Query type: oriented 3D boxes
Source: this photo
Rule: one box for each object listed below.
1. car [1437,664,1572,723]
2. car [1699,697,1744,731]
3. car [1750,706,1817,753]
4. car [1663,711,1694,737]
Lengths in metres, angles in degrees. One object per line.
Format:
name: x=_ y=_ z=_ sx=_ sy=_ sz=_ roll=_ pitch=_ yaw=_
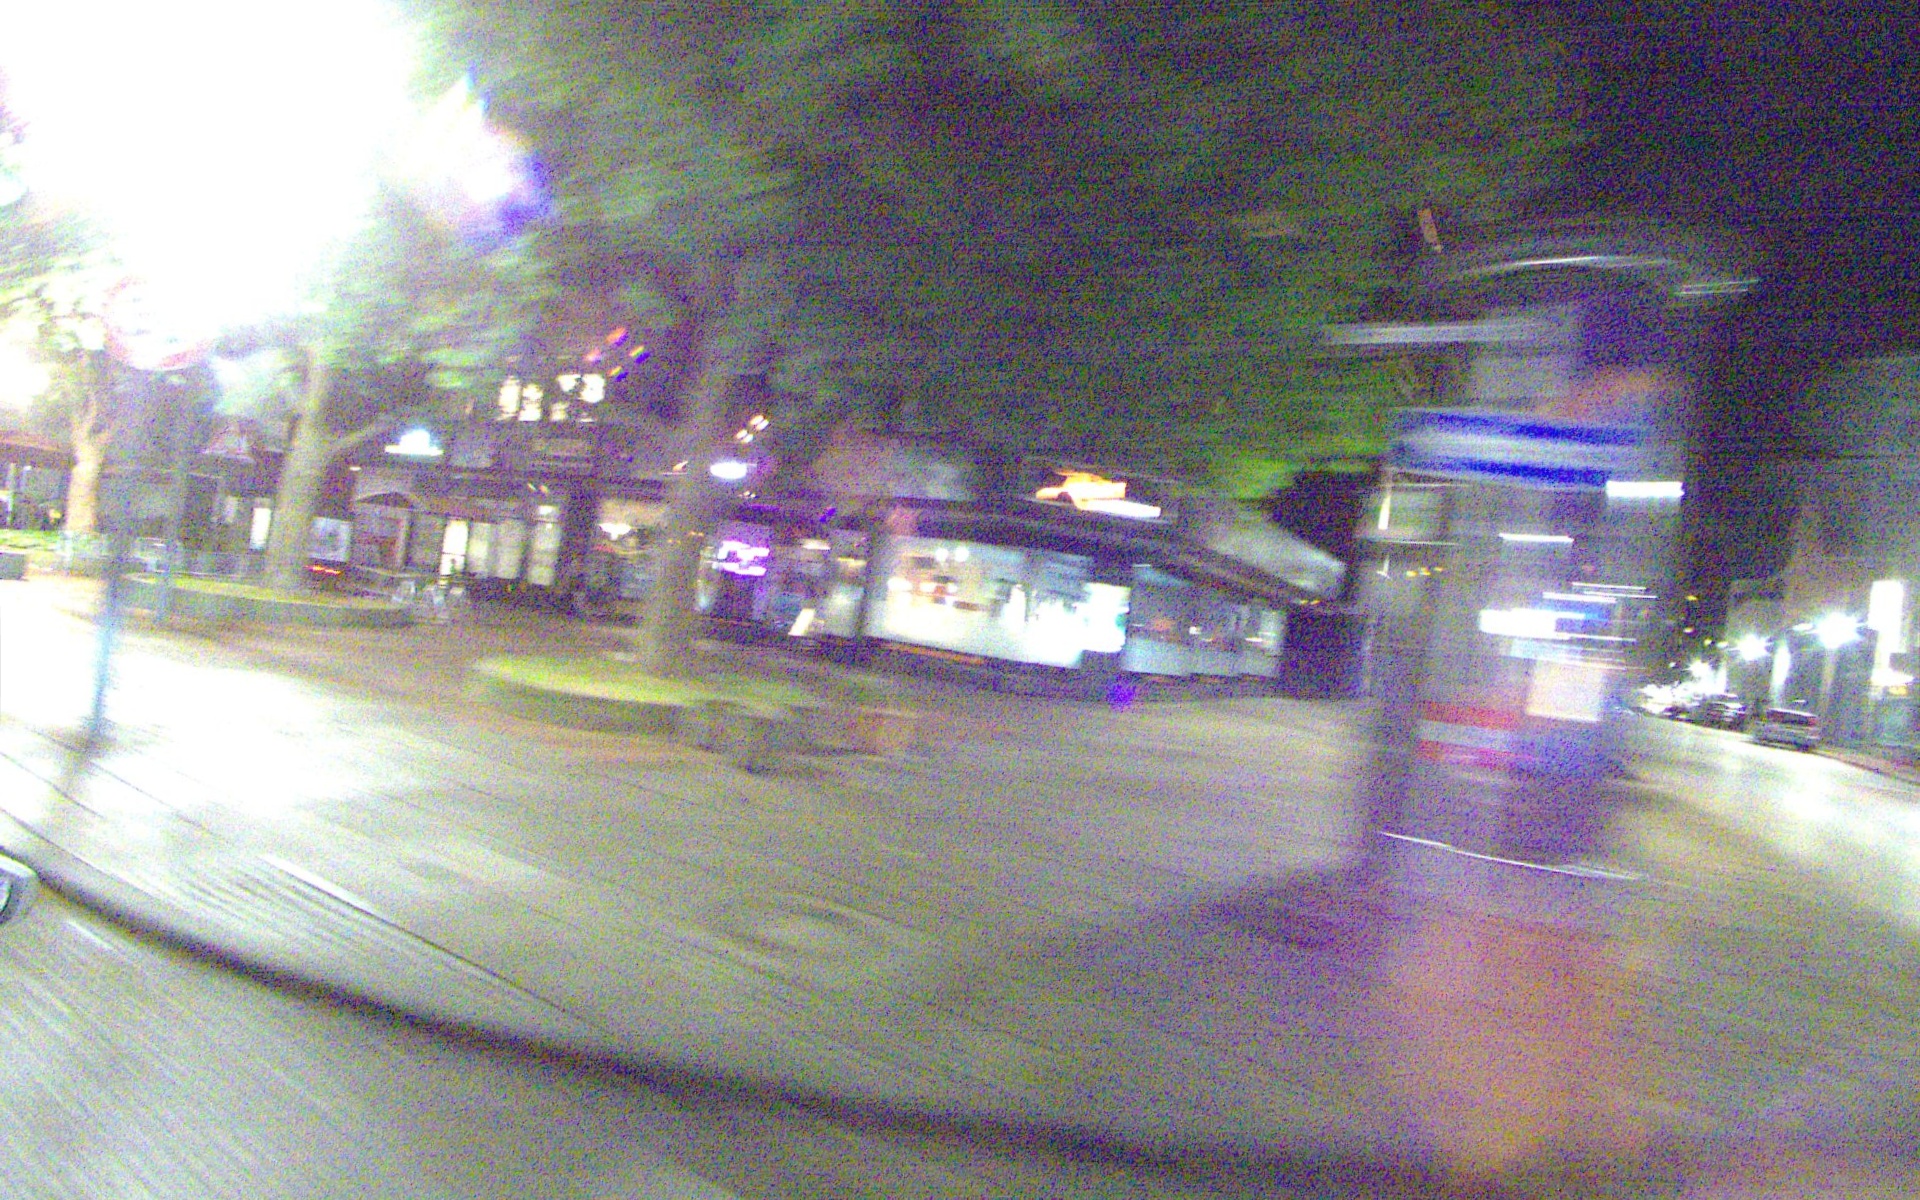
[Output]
car: x=19.044 y=3.270 z=35.263 sx=3.933 sy=1.496 sz=1.751 roll=6 pitch=-2 yaw=31
car: x=41.480 y=6.206 z=54.847 sx=1.446 sy=1.518 sz=3.516 roll=8 pitch=0 yaw=31
car: x=33.314 y=5.203 z=40.786 sx=1.626 sy=1.518 sz=3.513 roll=8 pitch=0 yaw=34
car: x=52.686 y=9.061 z=73.796 sx=1.446 sy=1.518 sz=3.516 roll=8 pitch=0 yaw=31
